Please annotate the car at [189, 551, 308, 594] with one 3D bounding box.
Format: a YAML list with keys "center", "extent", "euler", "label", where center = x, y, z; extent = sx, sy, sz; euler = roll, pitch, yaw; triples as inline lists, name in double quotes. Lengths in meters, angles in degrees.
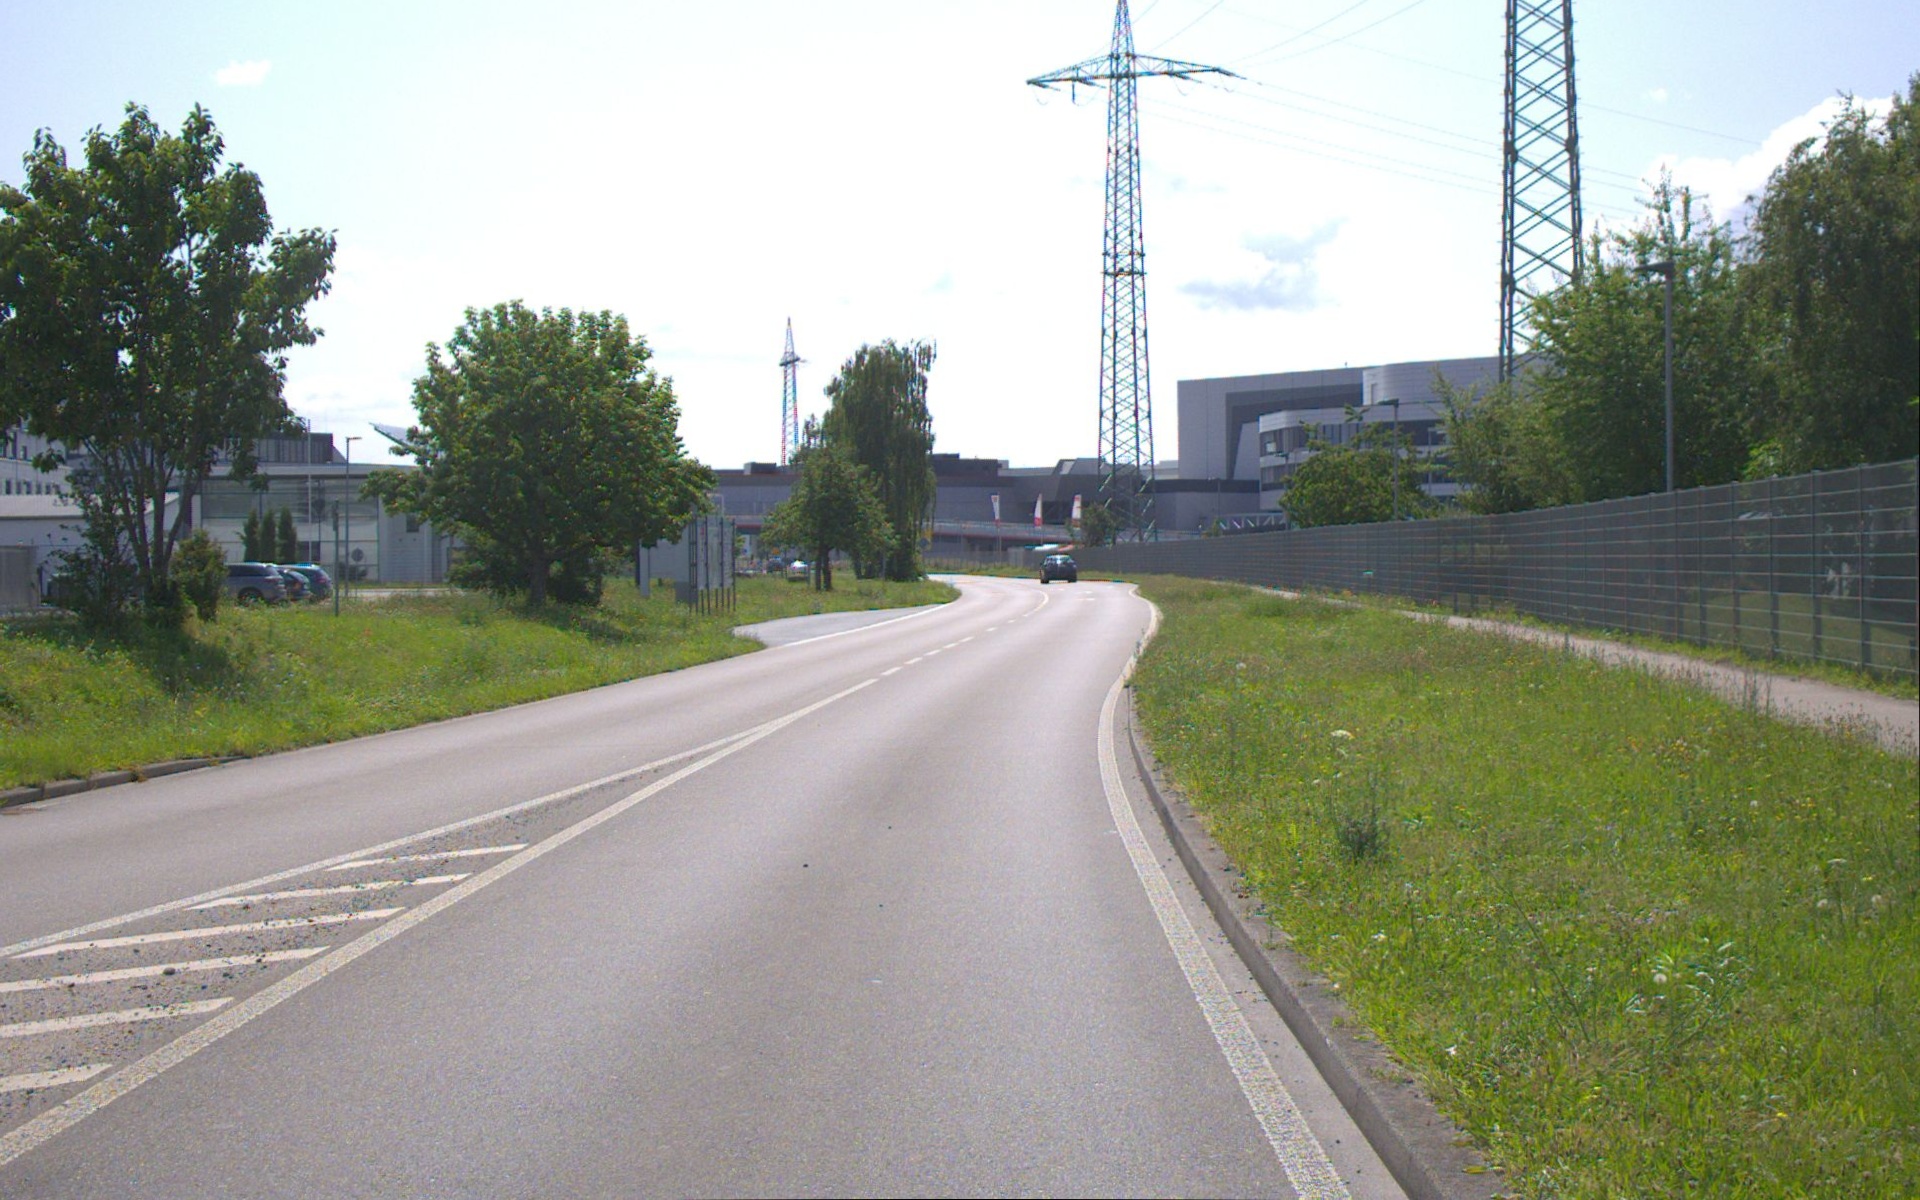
- center: [-25.494, -0.990, 123.265]
  extent: [3.986, 1.550, 1.666]
  euler: [0, 1, -3]
  label: "car"

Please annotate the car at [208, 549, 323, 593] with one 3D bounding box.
- center: [-26.179, -1.096, 129.612]
  extent: [3.986, 1.634, 2.000]
  euler: [0, 1, -3]
  label: "car"

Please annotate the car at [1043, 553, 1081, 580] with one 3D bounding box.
- center: [5.709, -1.893, 192.611]
  extent: [2.012, 1.503, 4.000]
  euler: [0, 1, 0]
  label: "car"

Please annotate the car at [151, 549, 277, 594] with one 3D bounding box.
- center: [-25.784, -0.995, 118.901]
  extent: [3.986, 1.523, 2.000]
  euler: [0, 1, -3]
  label: "car"
